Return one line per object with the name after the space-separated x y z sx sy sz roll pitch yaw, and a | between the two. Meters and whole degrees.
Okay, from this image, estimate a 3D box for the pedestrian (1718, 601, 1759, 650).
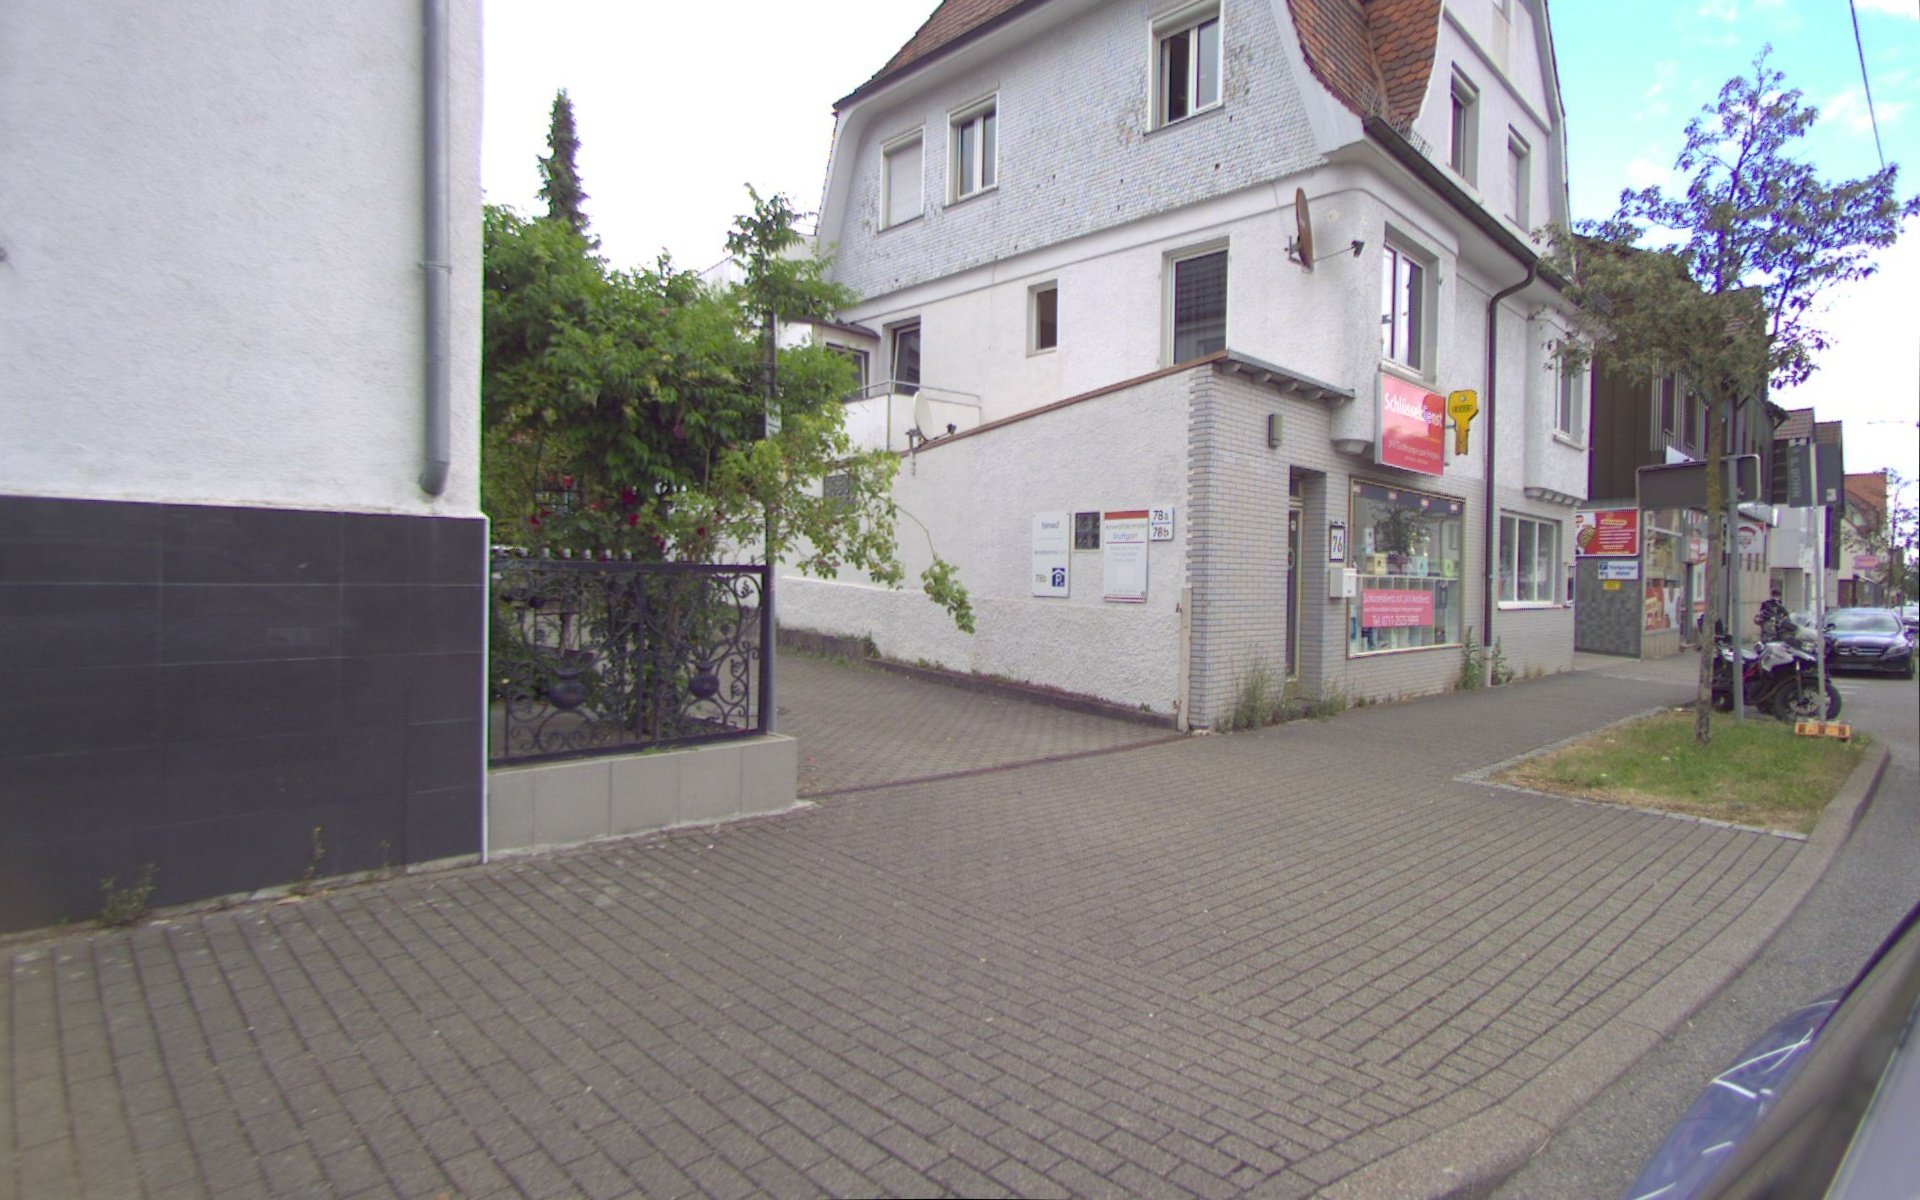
20.629 0.670 26.808 0.633 1.226 0.740 0 2 -45 | pedestrian

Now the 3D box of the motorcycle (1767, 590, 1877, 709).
12.083 0.635 14.156 2.550 1.544 0.672 0 0 -38 | motorcycle

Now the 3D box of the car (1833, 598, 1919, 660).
23.747 0.687 26.086 1.641 1.460 3.840 1 1 44 | car

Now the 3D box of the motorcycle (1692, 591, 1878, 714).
10.256 0.588 12.708 0.763 1.399 2.238 0 0 9 | motorcycle

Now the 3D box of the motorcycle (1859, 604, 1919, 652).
26.190 0.782 28.259 1.564 1.308 0.499 0 0 17 | motorcycle

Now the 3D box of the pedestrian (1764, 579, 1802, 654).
19.871 0.392 24.426 0.641 1.762 0.731 3 2 40 | pedestrian

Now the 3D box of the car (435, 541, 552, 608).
-11.427 -0.660 24.660 1.718 1.488 3.998 0 2 -38 | car

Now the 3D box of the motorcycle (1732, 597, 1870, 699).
12.706 0.683 15.274 2.418 1.458 0.651 0 0 -25 | motorcycle

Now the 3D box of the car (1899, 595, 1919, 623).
49.210 0.469 51.544 3.884 1.381 1.792 0 3 -44 | car

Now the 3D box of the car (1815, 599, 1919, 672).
20.208 0.711 22.259 1.825 1.426 4.492 1 1 44 | car
